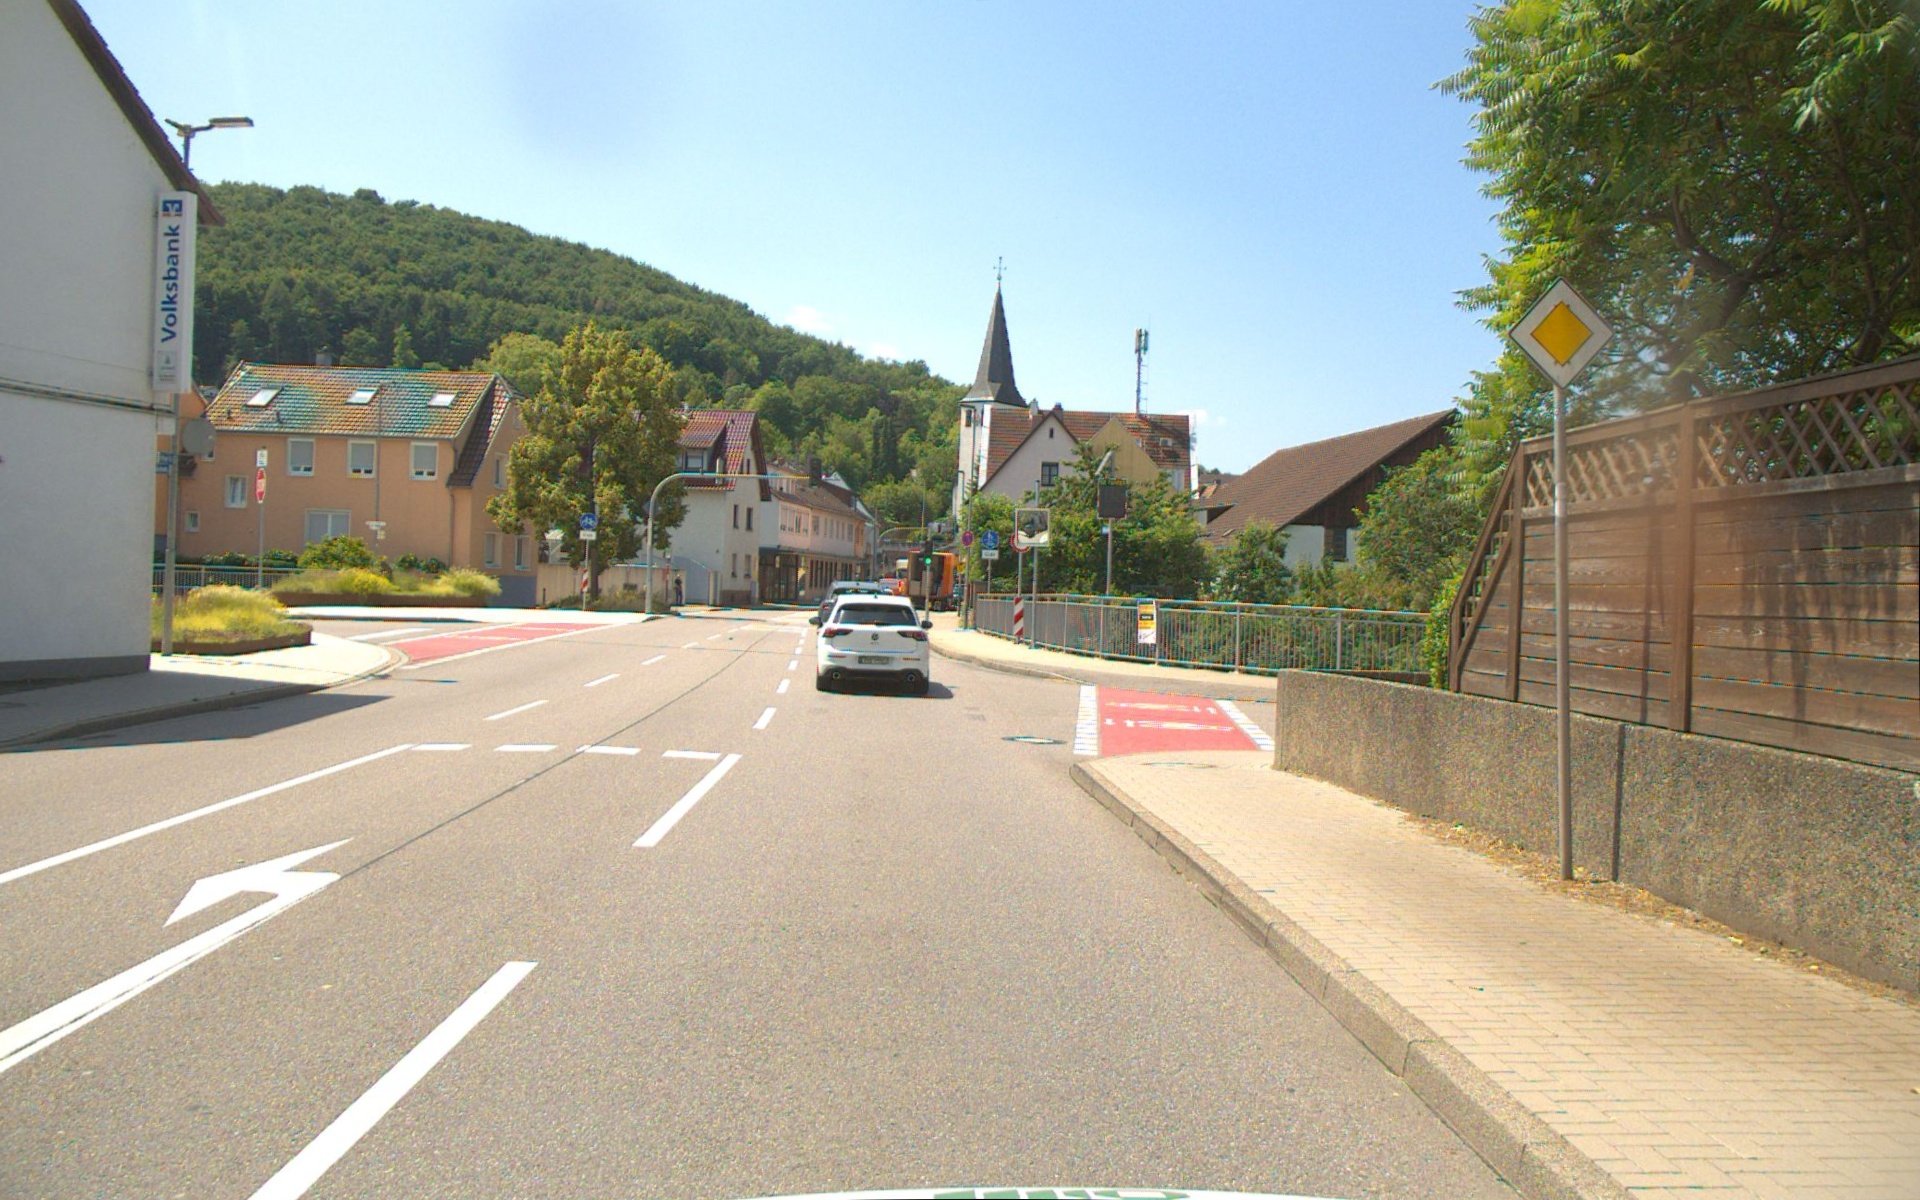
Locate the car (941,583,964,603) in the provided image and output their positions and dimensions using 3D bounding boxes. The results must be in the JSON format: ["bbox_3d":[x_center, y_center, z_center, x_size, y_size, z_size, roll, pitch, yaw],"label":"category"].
[{"bbox_3d":[-0.644,-0.557,134.296,1.778,1.545,3.999,1,0,-1],"label":"car"}]

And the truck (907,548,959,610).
[{"bbox_3d":[-1.880,-1.421,119.139,3.297,4.243,9.520,1,0,1],"label":"truck"}]

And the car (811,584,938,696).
[{"bbox_3d":[-1.284,0.595,26.230,1.778,1.545,3.999,3,0,-1],"label":"car"}]

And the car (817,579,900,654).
[{"bbox_3d":[-2.387,0.384,39.709,1.778,1.657,3.999,1,0,-1],"label":"car"}]

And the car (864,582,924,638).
[{"bbox_3d":[-2.068,0.315,52.422,1.778,1.657,3.999,1,0,-1],"label":"car"}]

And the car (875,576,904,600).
[{"bbox_3d":[-5.167,-0.871,121.702,1.953,1.735,4.311,1,0,-1],"label":"car"}]

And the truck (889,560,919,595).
[{"bbox_3d":[-5.454,-2.184,162.384,2.450,3.292,6.041,1,0,2],"label":"truck"}]

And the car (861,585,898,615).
[{"bbox_3d":[-4.297,-0.008,88.809,1.778,1.545,3.999,1,0,-1],"label":"car"}]

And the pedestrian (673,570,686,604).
[{"bbox_3d":[-15.059,-0.702,88.921,0.425,1.795,0.557,2,0,18],"label":"pedestrian"}]
